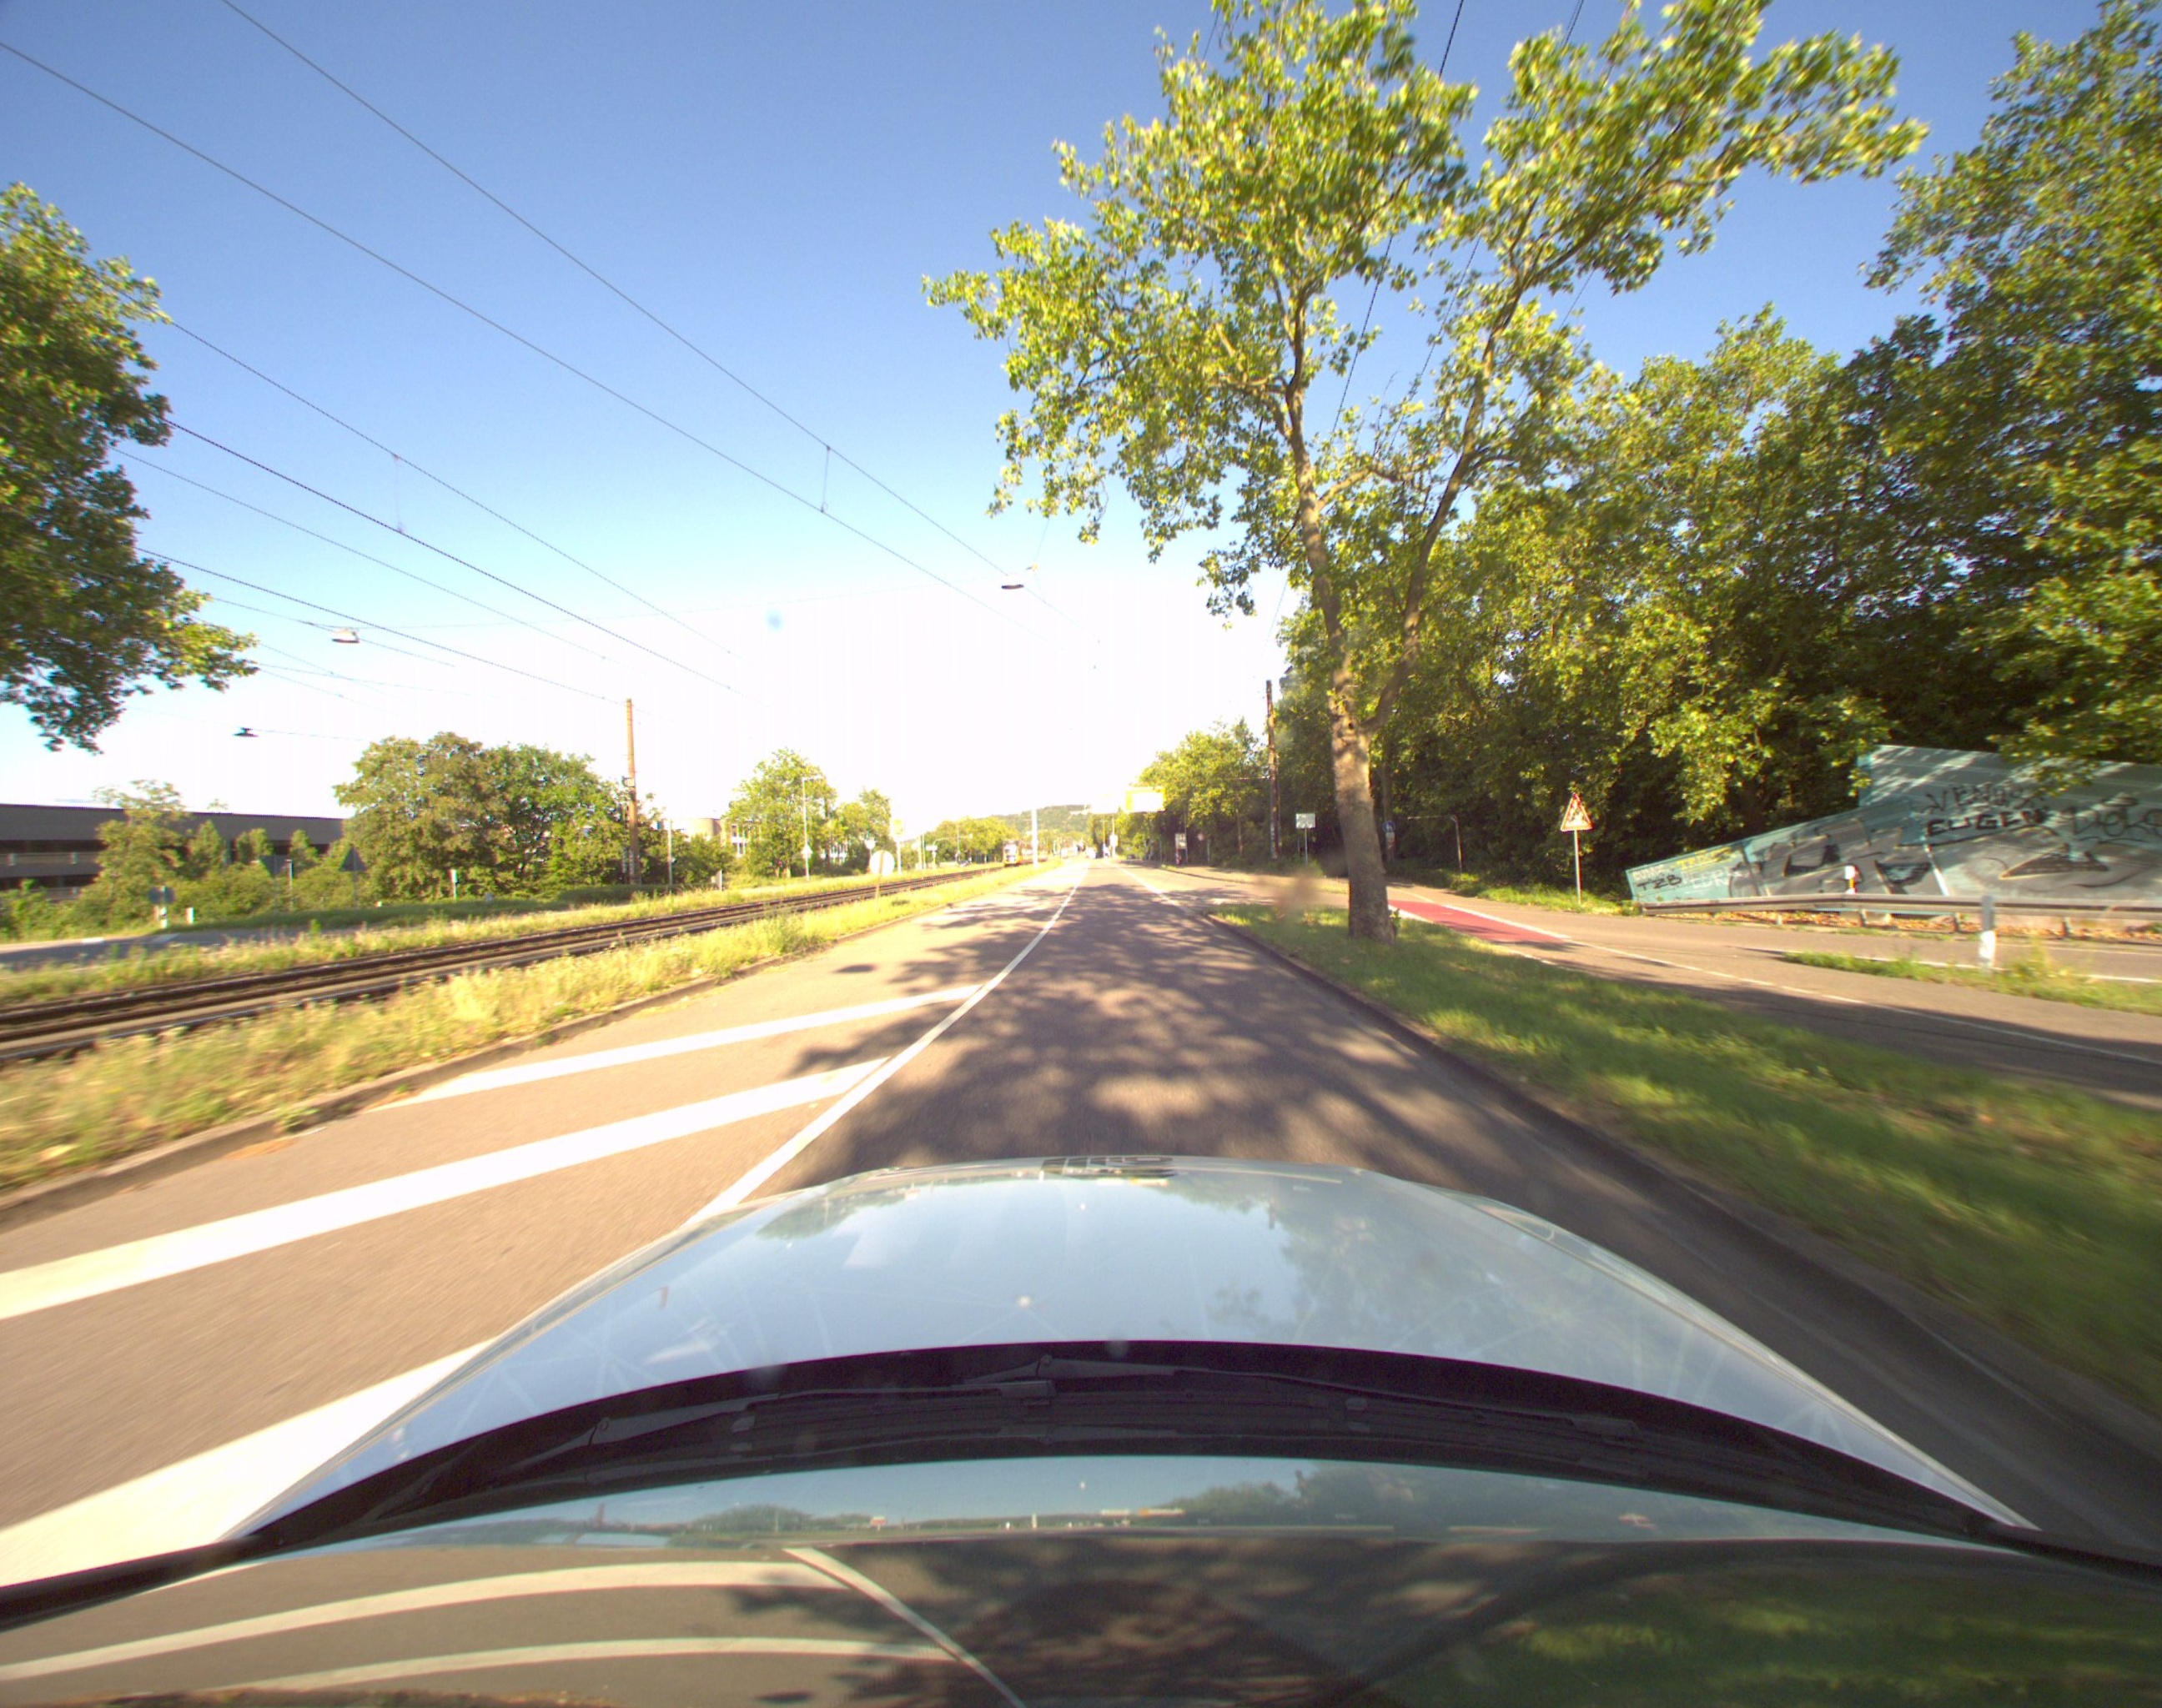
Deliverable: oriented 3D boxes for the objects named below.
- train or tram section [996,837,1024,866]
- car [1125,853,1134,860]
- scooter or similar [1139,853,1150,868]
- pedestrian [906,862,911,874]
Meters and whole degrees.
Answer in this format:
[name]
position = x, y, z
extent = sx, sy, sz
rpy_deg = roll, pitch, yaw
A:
[train or tram section]
position = -10.151, -0.367, 118.004
extent = 2.795, 3.902, 12.331
rpy_deg = -1, 0, 0
[car]
position = 12.422, 0.601, 207.900
extent = 2.075, 1.566, 3.963
rpy_deg = -1, 0, 7
[scooter or similar]
position = 11.982, 1.244, 153.523
extent = 1.675, 2.715, 4.870
rpy_deg = -1, 0, 1
[pedestrian]
position = -27.590, 2.218, 130.260
extent = 0.535, 1.821, 0.655
rpy_deg = -1, -1, 23
